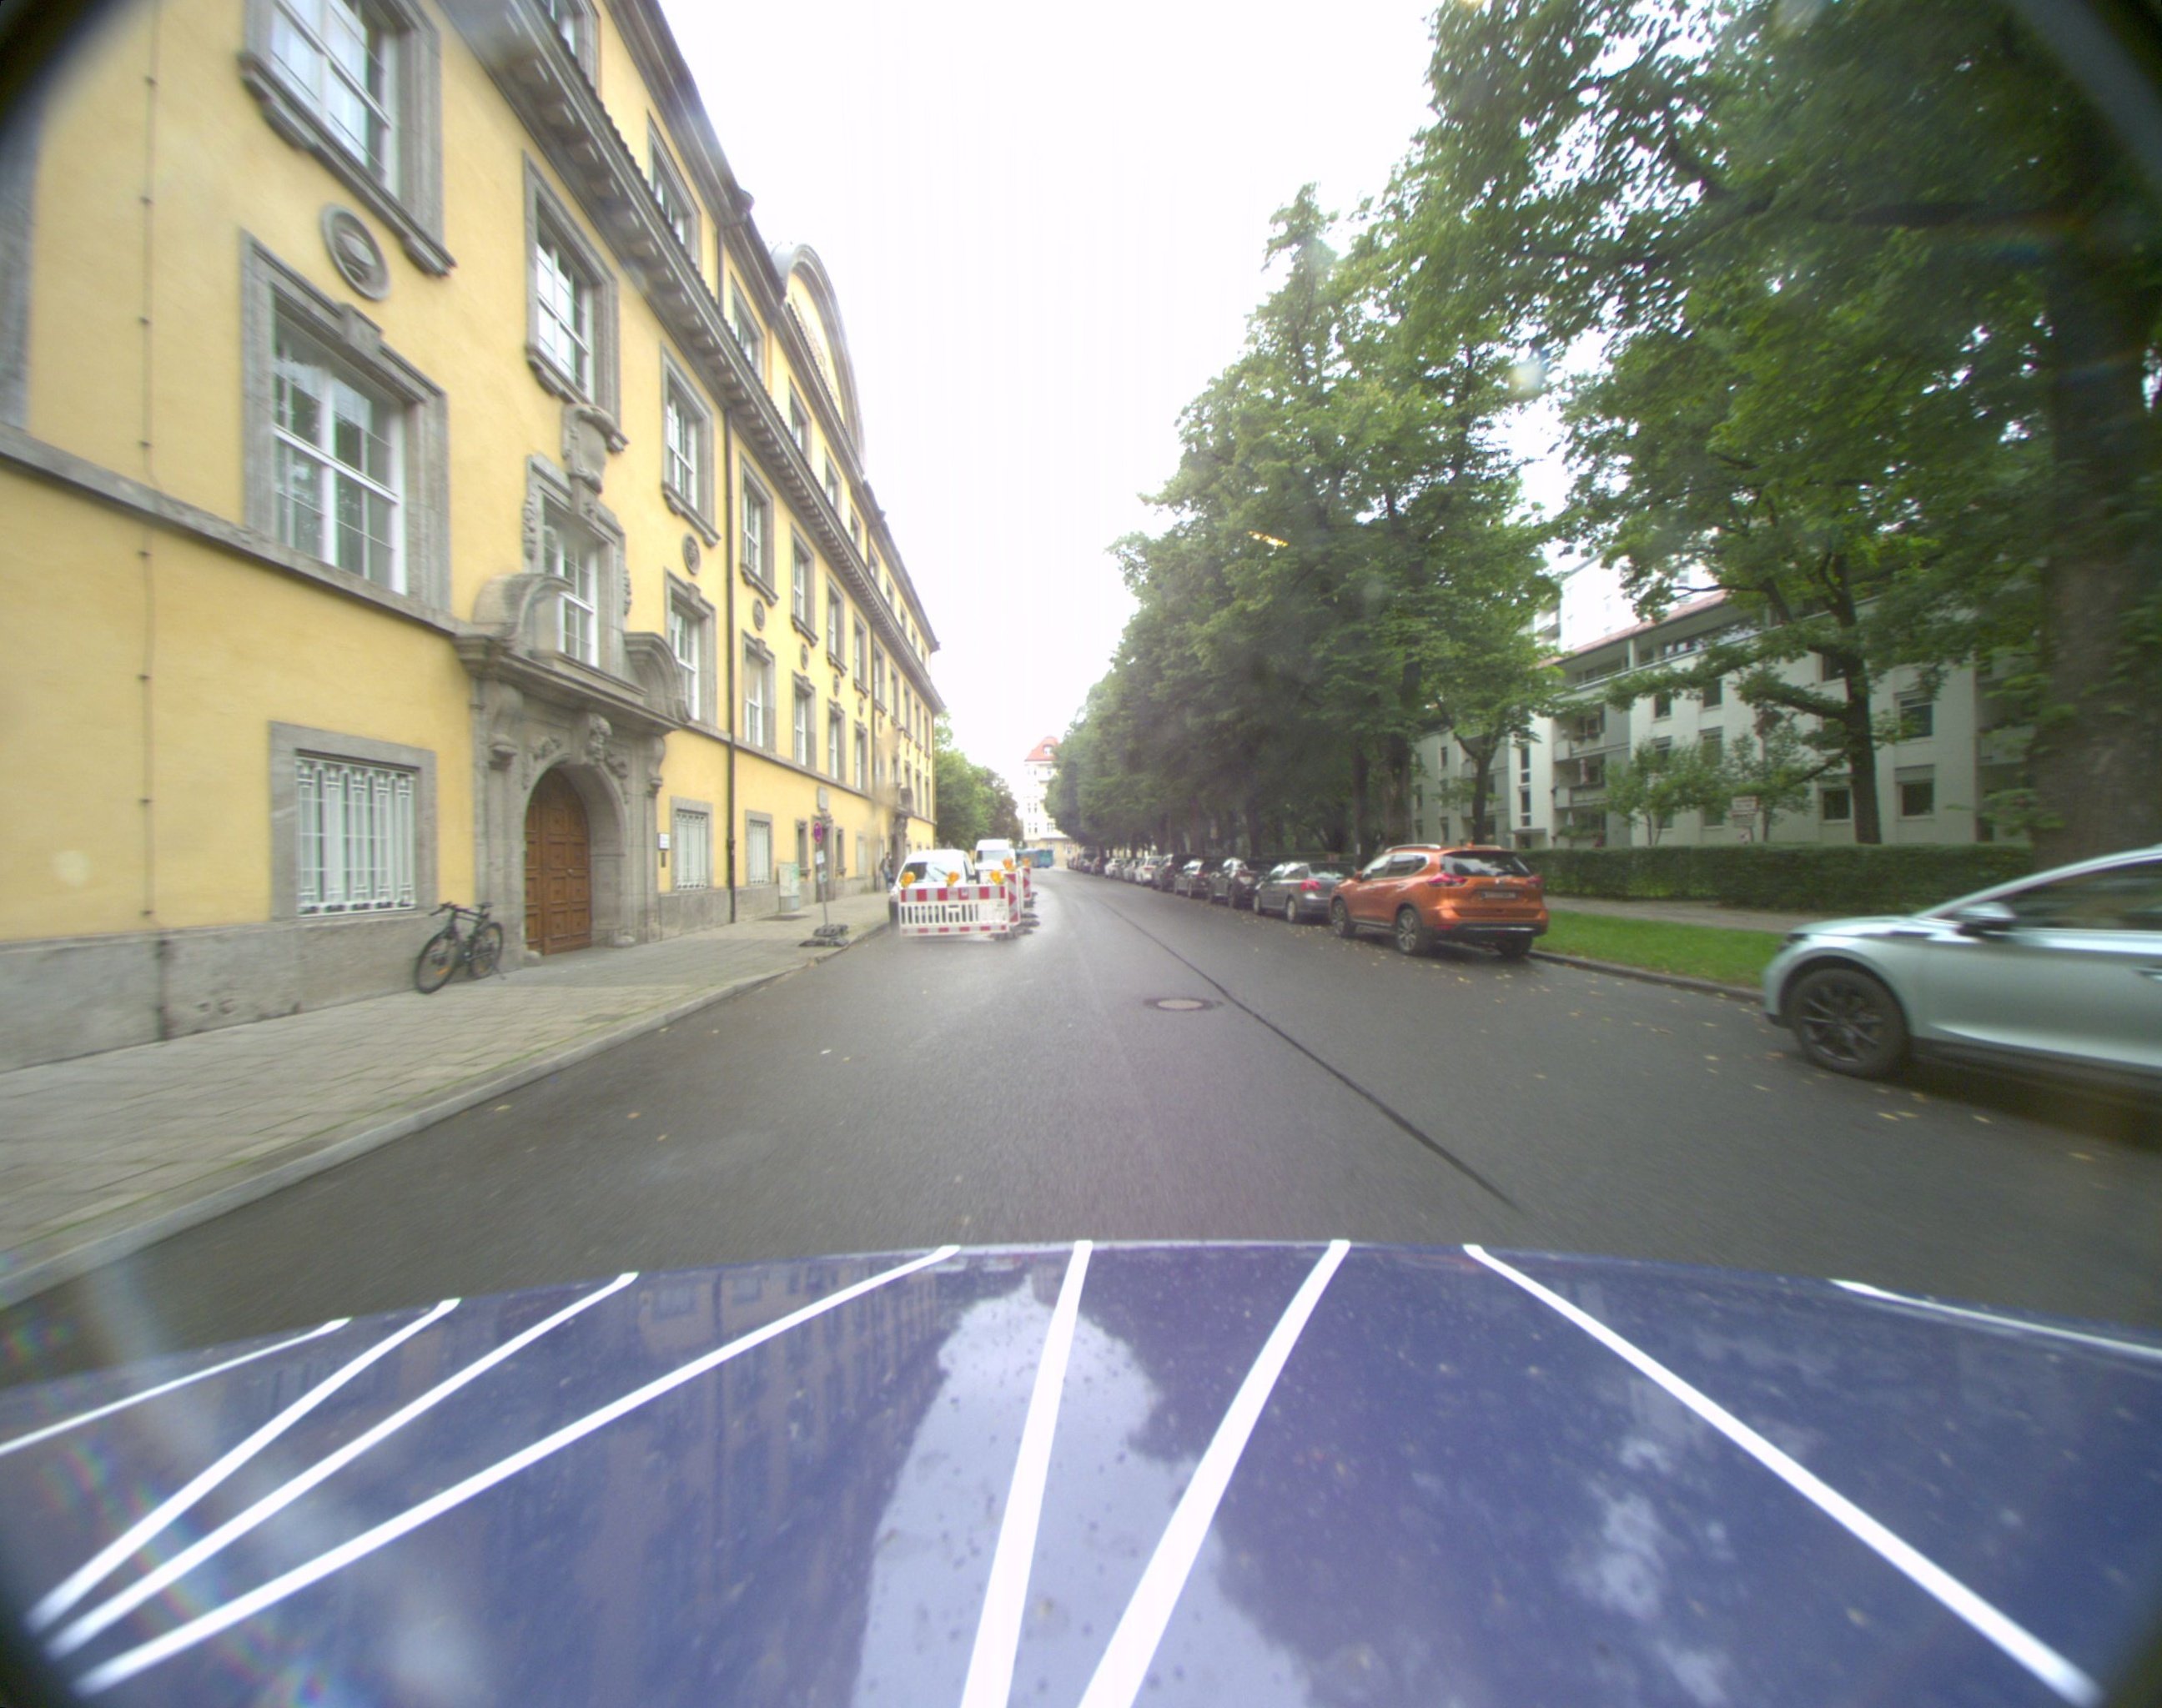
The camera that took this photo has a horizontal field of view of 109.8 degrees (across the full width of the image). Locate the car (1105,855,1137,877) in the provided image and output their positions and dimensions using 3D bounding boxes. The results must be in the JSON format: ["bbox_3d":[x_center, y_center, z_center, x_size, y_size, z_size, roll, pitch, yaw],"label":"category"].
[{"bbox_3d":[2.996,0.881,57.806,1.789,1.588,4.582,-1,0,-5],"label":"car"}]

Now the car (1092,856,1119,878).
[{"bbox_3d":[2.110,1.100,67.163,1.789,1.866,4.546,1,0,-5],"label":"car"}]

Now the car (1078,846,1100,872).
[{"bbox_3d":[0.900,0.529,88.900,1.951,2.838,6.232,-1,1,-5],"label":"car"}]

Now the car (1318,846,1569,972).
[{"bbox_3d":[5.747,0.743,12.825,1.878,1.718,4.639,-1,0,-2],"label":"car"}]

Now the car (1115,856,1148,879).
[{"bbox_3d":[3.460,0.922,53.093,1.677,1.461,4.101,-1,1,-5],"label":"car"}]

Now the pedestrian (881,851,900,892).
[{"bbox_3d":[-8.414,0.761,33.514,0.702,1.794,0.582,1,1,-4],"label":"pedestrian"}]

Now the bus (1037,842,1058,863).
[{"bbox_3d":[-5.678,-0.344,127.726,2.868,3.220,18.414,-1,1,-4],"label":"bus"}]

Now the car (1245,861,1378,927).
[{"bbox_3d":[5.518,0.894,18.775,1.732,1.414,4.249,-1,0,-4],"label":"car"}]

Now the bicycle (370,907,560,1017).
[{"bbox_3d":[-7.270,1.227,9.132,0.682,1.000,2.056,-1,1,-3],"label":"bicycle"}]

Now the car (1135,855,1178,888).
[{"bbox_3d":[4.086,0.915,41.768,1.770,1.612,4.521,2,0,-2],"label":"car"}]

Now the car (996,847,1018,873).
[{"bbox_3d":[-7.303,0.550,75.432,2.101,2.473,5.736,-1,1,-5],"label":"car"}]

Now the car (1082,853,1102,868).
[{"bbox_3d":[1.077,0.616,75.979,1.794,1.429,4.551,0,-1,-1],"label":"car"}]

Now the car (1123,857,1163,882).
[{"bbox_3d":[3.813,0.925,47.476,1.814,1.461,4.995,-1,0,-4],"label":"car"}]

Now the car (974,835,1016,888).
[{"bbox_3d":[-4.705,0.356,42.347,2.061,2.657,7.609,-1,1,-5],"label":"car"}]

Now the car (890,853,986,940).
[{"bbox_3d":[-3.247,0.876,17.981,1.745,1.740,4.353,-1,1,-4],"label":"car"}]

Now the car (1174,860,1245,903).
[{"bbox_3d":[4.844,0.977,29.235,1.723,1.442,4.694,-1,0,-2],"label":"car"}]

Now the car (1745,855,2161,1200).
[{"bbox_3d":[6.013,0.827,3.496,1.820,1.592,4.511,-1,0,-3],"label":"car"}]

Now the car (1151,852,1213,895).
[{"bbox_3d":[4.536,0.842,34.946,1.999,1.786,4.919,1,0,-2],"label":"car"}]

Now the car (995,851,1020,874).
[{"bbox_3d":[-6.662,0.710,68.248,2.020,1.895,5.160,-2,0,-7],"label":"car"}]

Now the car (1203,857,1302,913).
[{"bbox_3d":[5.218,0.899,23.783,1.791,1.565,4.484,1,0,-4],"label":"car"}]
